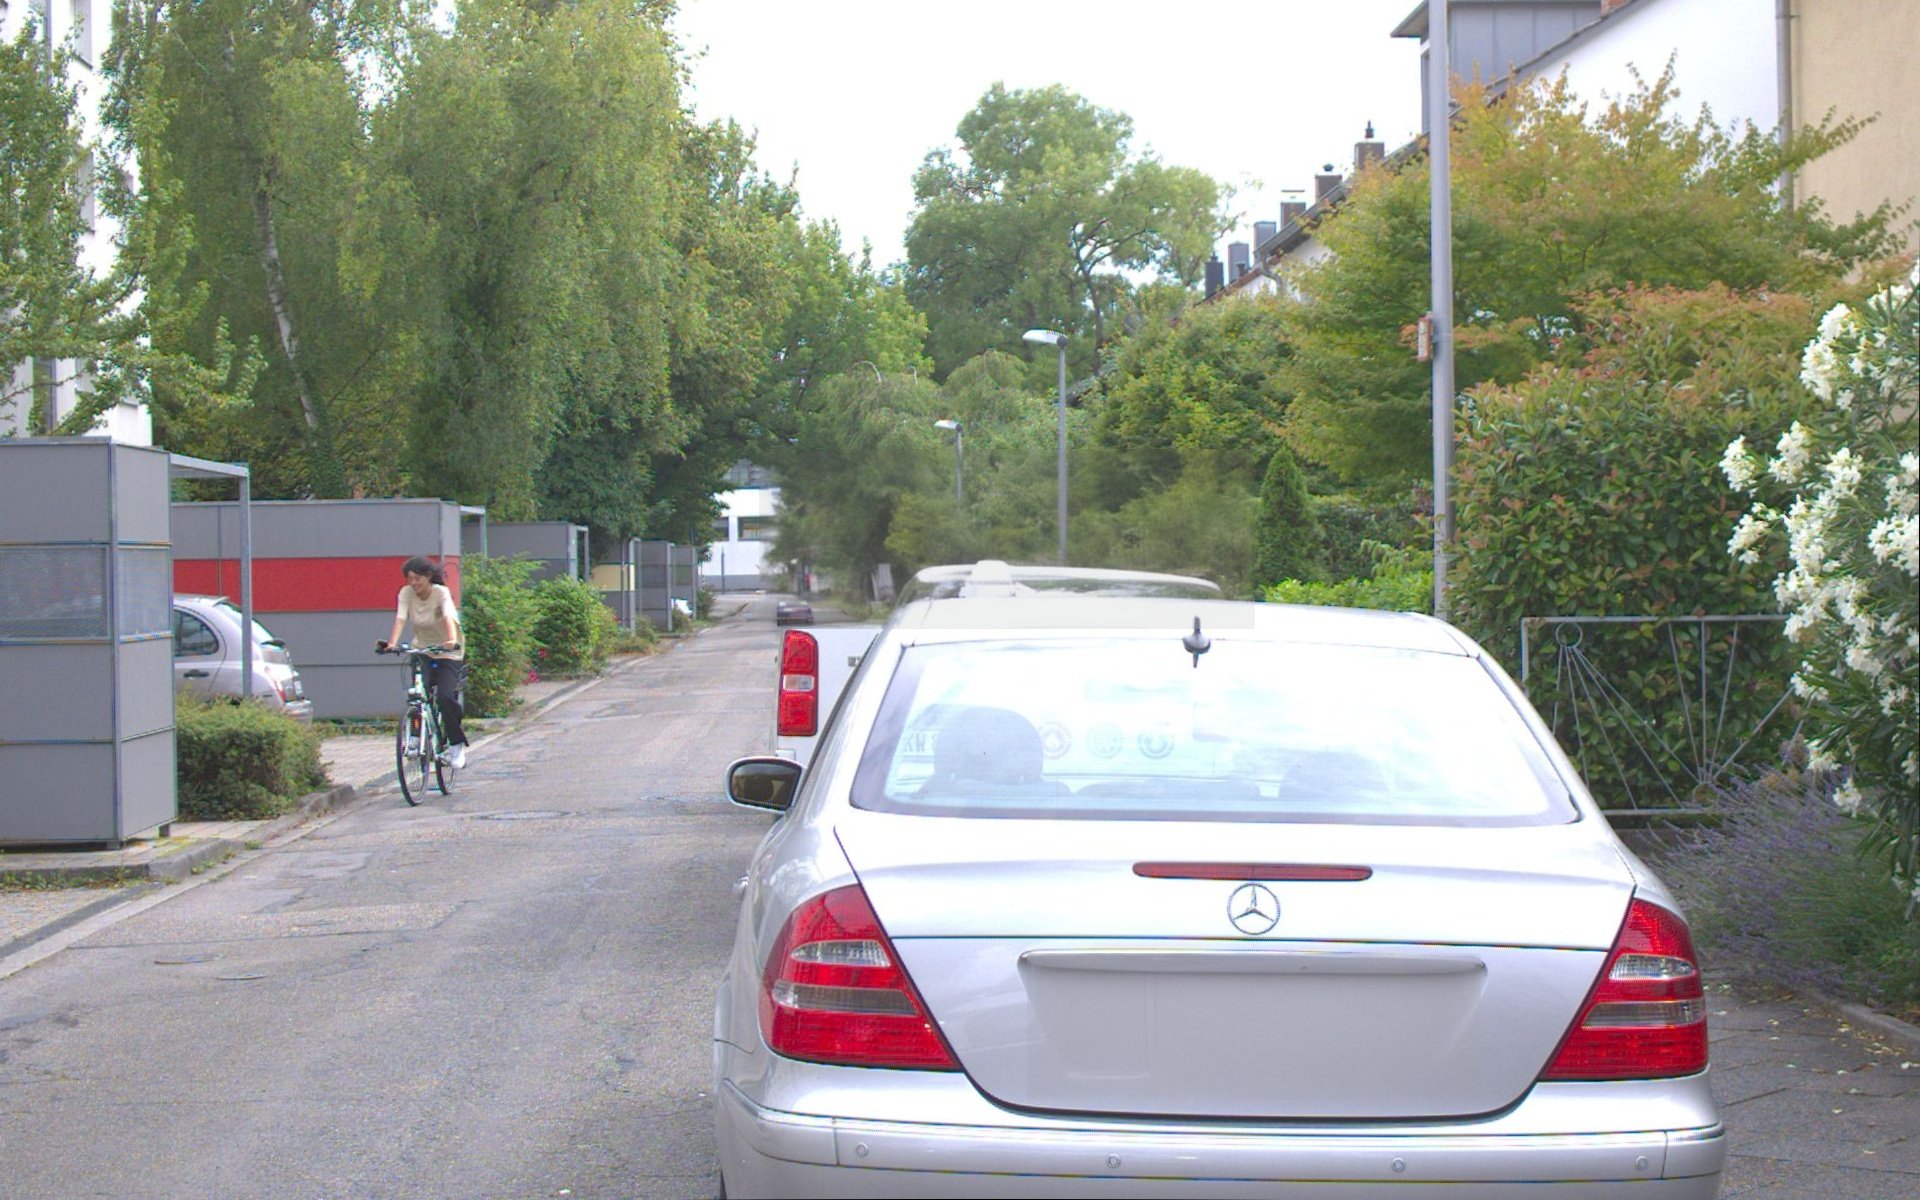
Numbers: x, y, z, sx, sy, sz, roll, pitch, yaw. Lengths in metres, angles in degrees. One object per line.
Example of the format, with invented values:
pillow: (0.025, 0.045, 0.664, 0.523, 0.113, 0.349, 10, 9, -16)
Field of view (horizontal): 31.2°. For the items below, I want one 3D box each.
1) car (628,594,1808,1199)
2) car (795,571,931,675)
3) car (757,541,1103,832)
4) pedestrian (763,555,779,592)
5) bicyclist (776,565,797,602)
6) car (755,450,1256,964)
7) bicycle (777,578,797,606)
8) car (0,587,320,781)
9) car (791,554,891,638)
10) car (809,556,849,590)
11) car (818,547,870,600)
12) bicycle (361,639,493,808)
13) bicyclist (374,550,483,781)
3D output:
car: (0.368, 0.720, 7.446, 1.783, 1.416, 4.455, 0, 1, -1)
car: (-1.385, 0.298, 49.155, 1.825, 1.365, 4.331, 1, 1, -2)
car: (-0.286, 0.469, 21.471, 1.824, 1.630, 4.163, 0, 1, -5)
pedestrian: (-9.304, -1.302, 169.181, 0.777, 1.799, 0.548, 1, 0, -3)
bicyclist: (-7.191, -0.682, 142.645, 0.798, 1.506, 0.934, 1, 0, 0)
car: (0.049, 0.386, 15.778, 1.903, 1.958, 5.254, 0, 1, -3)
bicycle: (-7.189, -0.331, 142.713, 0.689, 1.127, 2.579, 1, 0, 0)
car: (-7.280, 0.700, 28.908, 3.561, 1.475, 1.711, -2, 1, -6)
car: (-2.378, -0.099, 67.919, 1.825, 1.576, 4.001, 1, 1, -4)
car: (-6.285, -1.289, 165.269, 1.825, 1.576, 4.000, 1, 1, -2)
car: (-4.176, -0.975, 124.405, 1.825, 1.877, 4.000, 1, 1, -2)
bicycle: (-3.723, 0.841, 24.152, 0.597, 1.072, 2.042, -2, 1, -1)
bicyclist: (-3.736, 0.450, 24.203, 0.597, 1.575, 0.767, -2, 0, -1)
